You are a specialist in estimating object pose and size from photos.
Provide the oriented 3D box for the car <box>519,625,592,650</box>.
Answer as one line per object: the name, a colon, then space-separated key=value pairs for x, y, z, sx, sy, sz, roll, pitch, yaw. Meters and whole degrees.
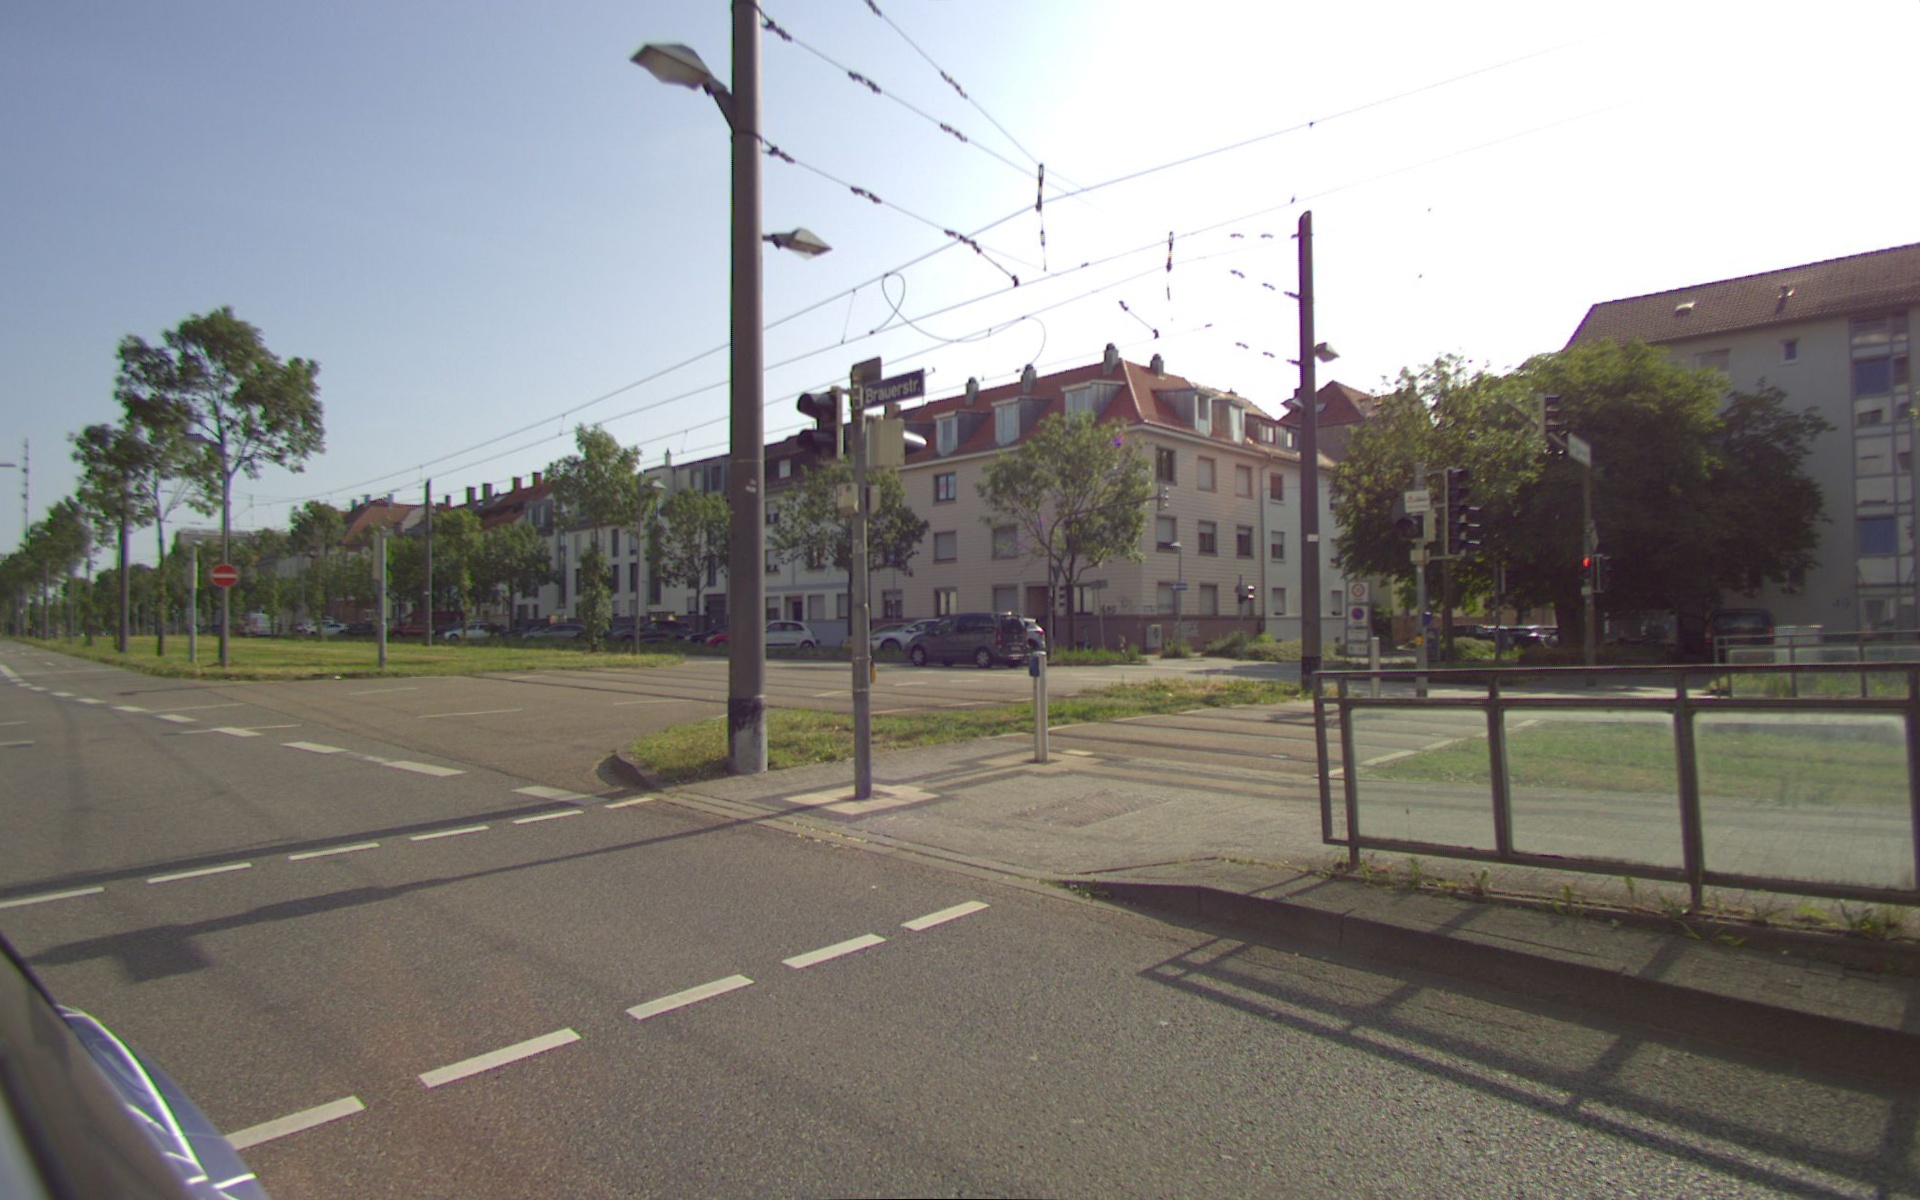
car: x=-26.134 y=2.397 z=65.516 sx=4.265 sy=1.386 sz=2.006 roll=-2 pitch=0 yaw=-19

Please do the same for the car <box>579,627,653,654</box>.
car: x=-19.797 y=2.309 z=58.191 sx=3.931 sy=1.298 sz=2.006 roll=-2 pitch=0 yaw=-19

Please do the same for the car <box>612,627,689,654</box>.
car: x=-17.225 y=2.216 z=56.267 sx=3.990 sy=1.298 sz=2.006 roll=-2 pitch=0 yaw=-18

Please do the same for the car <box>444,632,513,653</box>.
car: x=-35.458 y=3.123 z=74.582 sx=4.327 sy=1.330 sz=1.738 roll=-2 pitch=0 yaw=-12

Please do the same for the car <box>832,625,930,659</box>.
car: x=-3.273 y=1.736 z=42.088 sx=3.940 sy=1.187 sz=2.002 roll=-2 pitch=0 yaw=-4

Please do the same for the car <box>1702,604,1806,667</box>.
car: x=24.425 y=1.042 z=31.096 sx=3.941 sy=1.707 sz=2.001 roll=-2 pitch=0 yaw=-45

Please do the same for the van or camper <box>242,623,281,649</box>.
van or camper: x=-71.089 y=3.654 z=102.940 sx=6.061 sy=2.493 sz=2.117 roll=-2 pitch=-3 yaw=45

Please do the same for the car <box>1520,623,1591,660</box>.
car: x=28.067 y=1.923 z=47.684 sx=3.940 sy=1.486 sz=1.823 roll=-2 pitch=0 yaw=-43

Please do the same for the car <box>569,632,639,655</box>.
car: x=-21.332 y=2.608 z=60.721 sx=3.931 sy=1.298 sz=2.006 roll=0 pitch=-2 yaw=-19

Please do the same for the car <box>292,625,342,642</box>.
car: x=-67.541 y=3.521 z=106.362 sx=4.034 sy=1.541 sz=1.816 roll=-2 pitch=0 yaw=-8

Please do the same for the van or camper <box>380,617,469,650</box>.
van or camper: x=-44.410 y=2.780 z=84.046 sx=6.065 sy=2.566 sz=2.418 roll=-1 pitch=-1 yaw=-7

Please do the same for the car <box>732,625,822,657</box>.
car: x=-8.534 y=1.867 z=47.164 sx=3.932 sy=1.279 sz=1.892 roll=-2 pitch=0 yaw=-15

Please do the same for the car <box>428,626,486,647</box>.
car: x=-38.147 y=2.752 z=76.826 sx=3.660 sy=1.445 sz=1.646 roll=-2 pitch=0 yaw=-12

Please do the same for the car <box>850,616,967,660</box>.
car: x=-2.083 y=1.485 z=40.016 sx=4.393 sy=1.526 sz=2.004 roll=-2 pitch=0 yaw=-9

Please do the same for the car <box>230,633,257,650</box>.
car: x=-76.634 y=4.412 z=108.252 sx=1.794 sy=1.751 sz=4.164 roll=1 pitch=-3 yaw=-44

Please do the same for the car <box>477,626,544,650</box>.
car: x=-30.071 y=2.531 z=67.815 sx=3.931 sy=1.386 sz=1.933 roll=-2 pitch=0 yaw=-18

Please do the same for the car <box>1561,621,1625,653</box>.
car: x=32.579 y=1.872 z=52.066 sx=3.940 sy=1.486 sz=1.823 roll=-2 pitch=0 yaw=-43

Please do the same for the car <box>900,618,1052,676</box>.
car: x=0.465 y=1.490 z=32.586 sx=4.709 sy=1.719 sz=1.973 roll=-1 pitch=-4 yaw=40

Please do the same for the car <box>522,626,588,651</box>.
car: x=-25.204 y=2.373 z=63.069 sx=3.715 sy=1.386 sz=1.670 roll=-2 pitch=0 yaw=-19

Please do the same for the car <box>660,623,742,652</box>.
car: x=-13.129 y=1.897 z=51.484 sx=3.934 sy=1.244 sz=1.703 roll=-2 pitch=0 yaw=-12

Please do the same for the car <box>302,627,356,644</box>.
car: x=-65.079 y=3.639 z=104.413 sx=4.298 sy=1.486 sz=1.861 roll=-2 pitch=0 yaw=-8

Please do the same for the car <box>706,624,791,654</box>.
car: x=-10.305 y=1.869 z=49.288 sx=3.934 sy=1.268 sz=1.880 roll=-2 pitch=0 yaw=-12

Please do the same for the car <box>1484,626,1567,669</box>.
car: x=24.630 y=2.026 z=44.022 sx=3.940 sy=1.618 sz=2.001 roll=-2 pitch=0 yaw=-43
